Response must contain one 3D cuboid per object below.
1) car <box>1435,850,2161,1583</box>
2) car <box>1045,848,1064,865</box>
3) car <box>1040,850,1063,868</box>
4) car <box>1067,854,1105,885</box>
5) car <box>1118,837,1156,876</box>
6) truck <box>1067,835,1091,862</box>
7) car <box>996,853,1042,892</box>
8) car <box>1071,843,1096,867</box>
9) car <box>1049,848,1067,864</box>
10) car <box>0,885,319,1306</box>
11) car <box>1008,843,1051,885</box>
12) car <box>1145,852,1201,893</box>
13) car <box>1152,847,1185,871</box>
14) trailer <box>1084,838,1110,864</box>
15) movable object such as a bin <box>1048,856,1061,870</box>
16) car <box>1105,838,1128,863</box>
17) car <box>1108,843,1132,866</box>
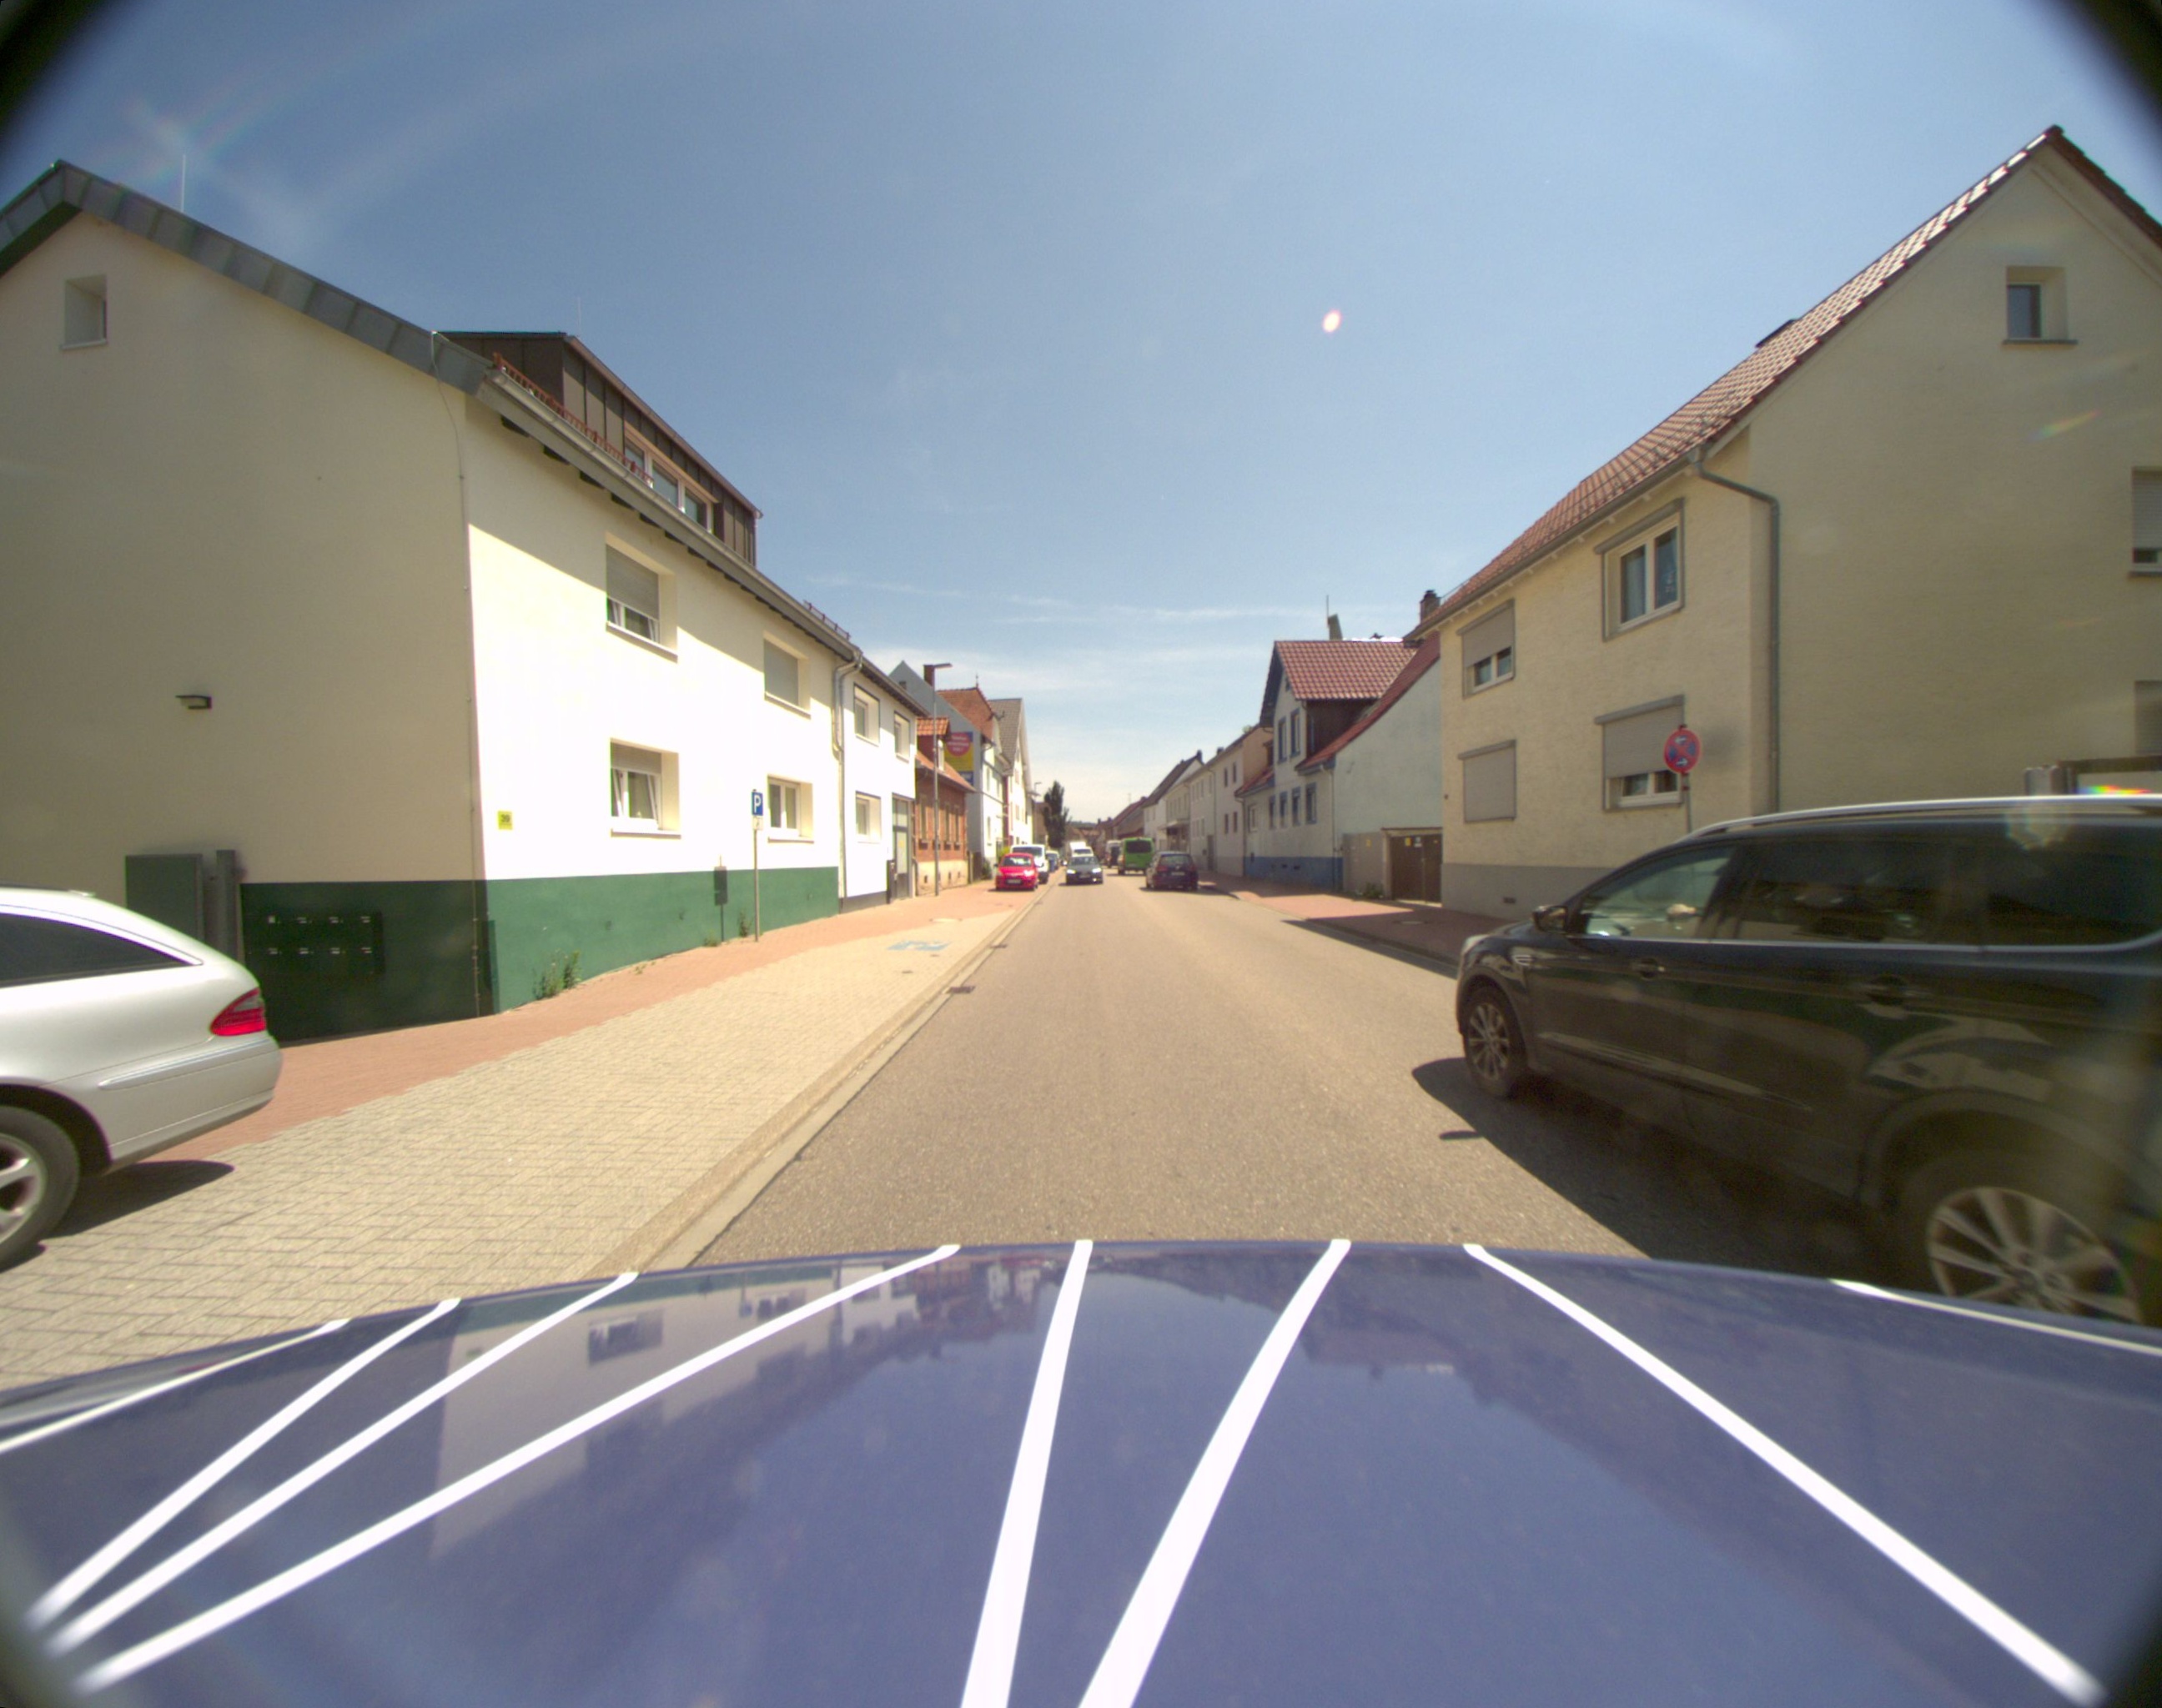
[{"bbox_3d":[3.373,0.818,3.090,1.844,1.660,4.323,0,0,0],"label":"car"},{"bbox_3d":[-2.462,0.211,71.641,1.611,1.513,3.544,1,1,0],"label":"car"},{"bbox_3d":[-2.486,0.414,64.548,1.704,1.438,4.836,2,1,1],"label":"car"},{"bbox_3d":[0.234,0.729,37.428,1.786,1.364,3.606,-2,0,0],"label":"car"},{"bbox_3d":[3.587,0.124,49.490,2.056,2.340,6.081,0,0,1],"label":"car"},{"bbox_3d":[-0.285,-0.696,103.562,2.868,3.492,8.317,0,0,-3],"label":"truck"},{"bbox_3d":[-2.558,0.726,32.016,1.614,1.519,3.676,0,0,-1],"label":"car"},{"bbox_3d":[0.216,0.112,66.414,2.079,1.949,5.518,-2,0,0],"label":"car"},{"bbox_3d":[-2.372,0.176,79.170,1.807,1.604,4.548,1,0,0],"label":"car"},{"bbox_3d":[-5.049,1.003,1.410,1.818,1.454,4.887,-5,0,9],"label":"car"},{"bbox_3d":[-2.554,0.466,38.861,1.951,1.959,4.784,0,0,-1],"label":"car"},{"bbox_3d":[3.686,0.697,31.109,1.769,1.527,4.077,0,0,0],"label":"car"},{"bbox_3d":[6.247,0.323,54.758,1.813,1.548,4.564,-3,1,1],"label":"car"},{"bbox_3d":[2.455,-0.568,122.043,2.638,3.956,15.690,0,1,-4],"label":"trailer"},{"bbox_3d":[-1.954,0.655,56.314,0.723,1.067,0.973,1,1,16],"label":"movable object such as a bin"},{"bbox_3d":[3.656,-0.340,80.020,2.130,2.527,5.461,0,0,0],"label":"car"},{"bbox_3d":[3.451,0.029,67.521,1.886,1.932,5.117,0,1,0],"label":"car"}]
